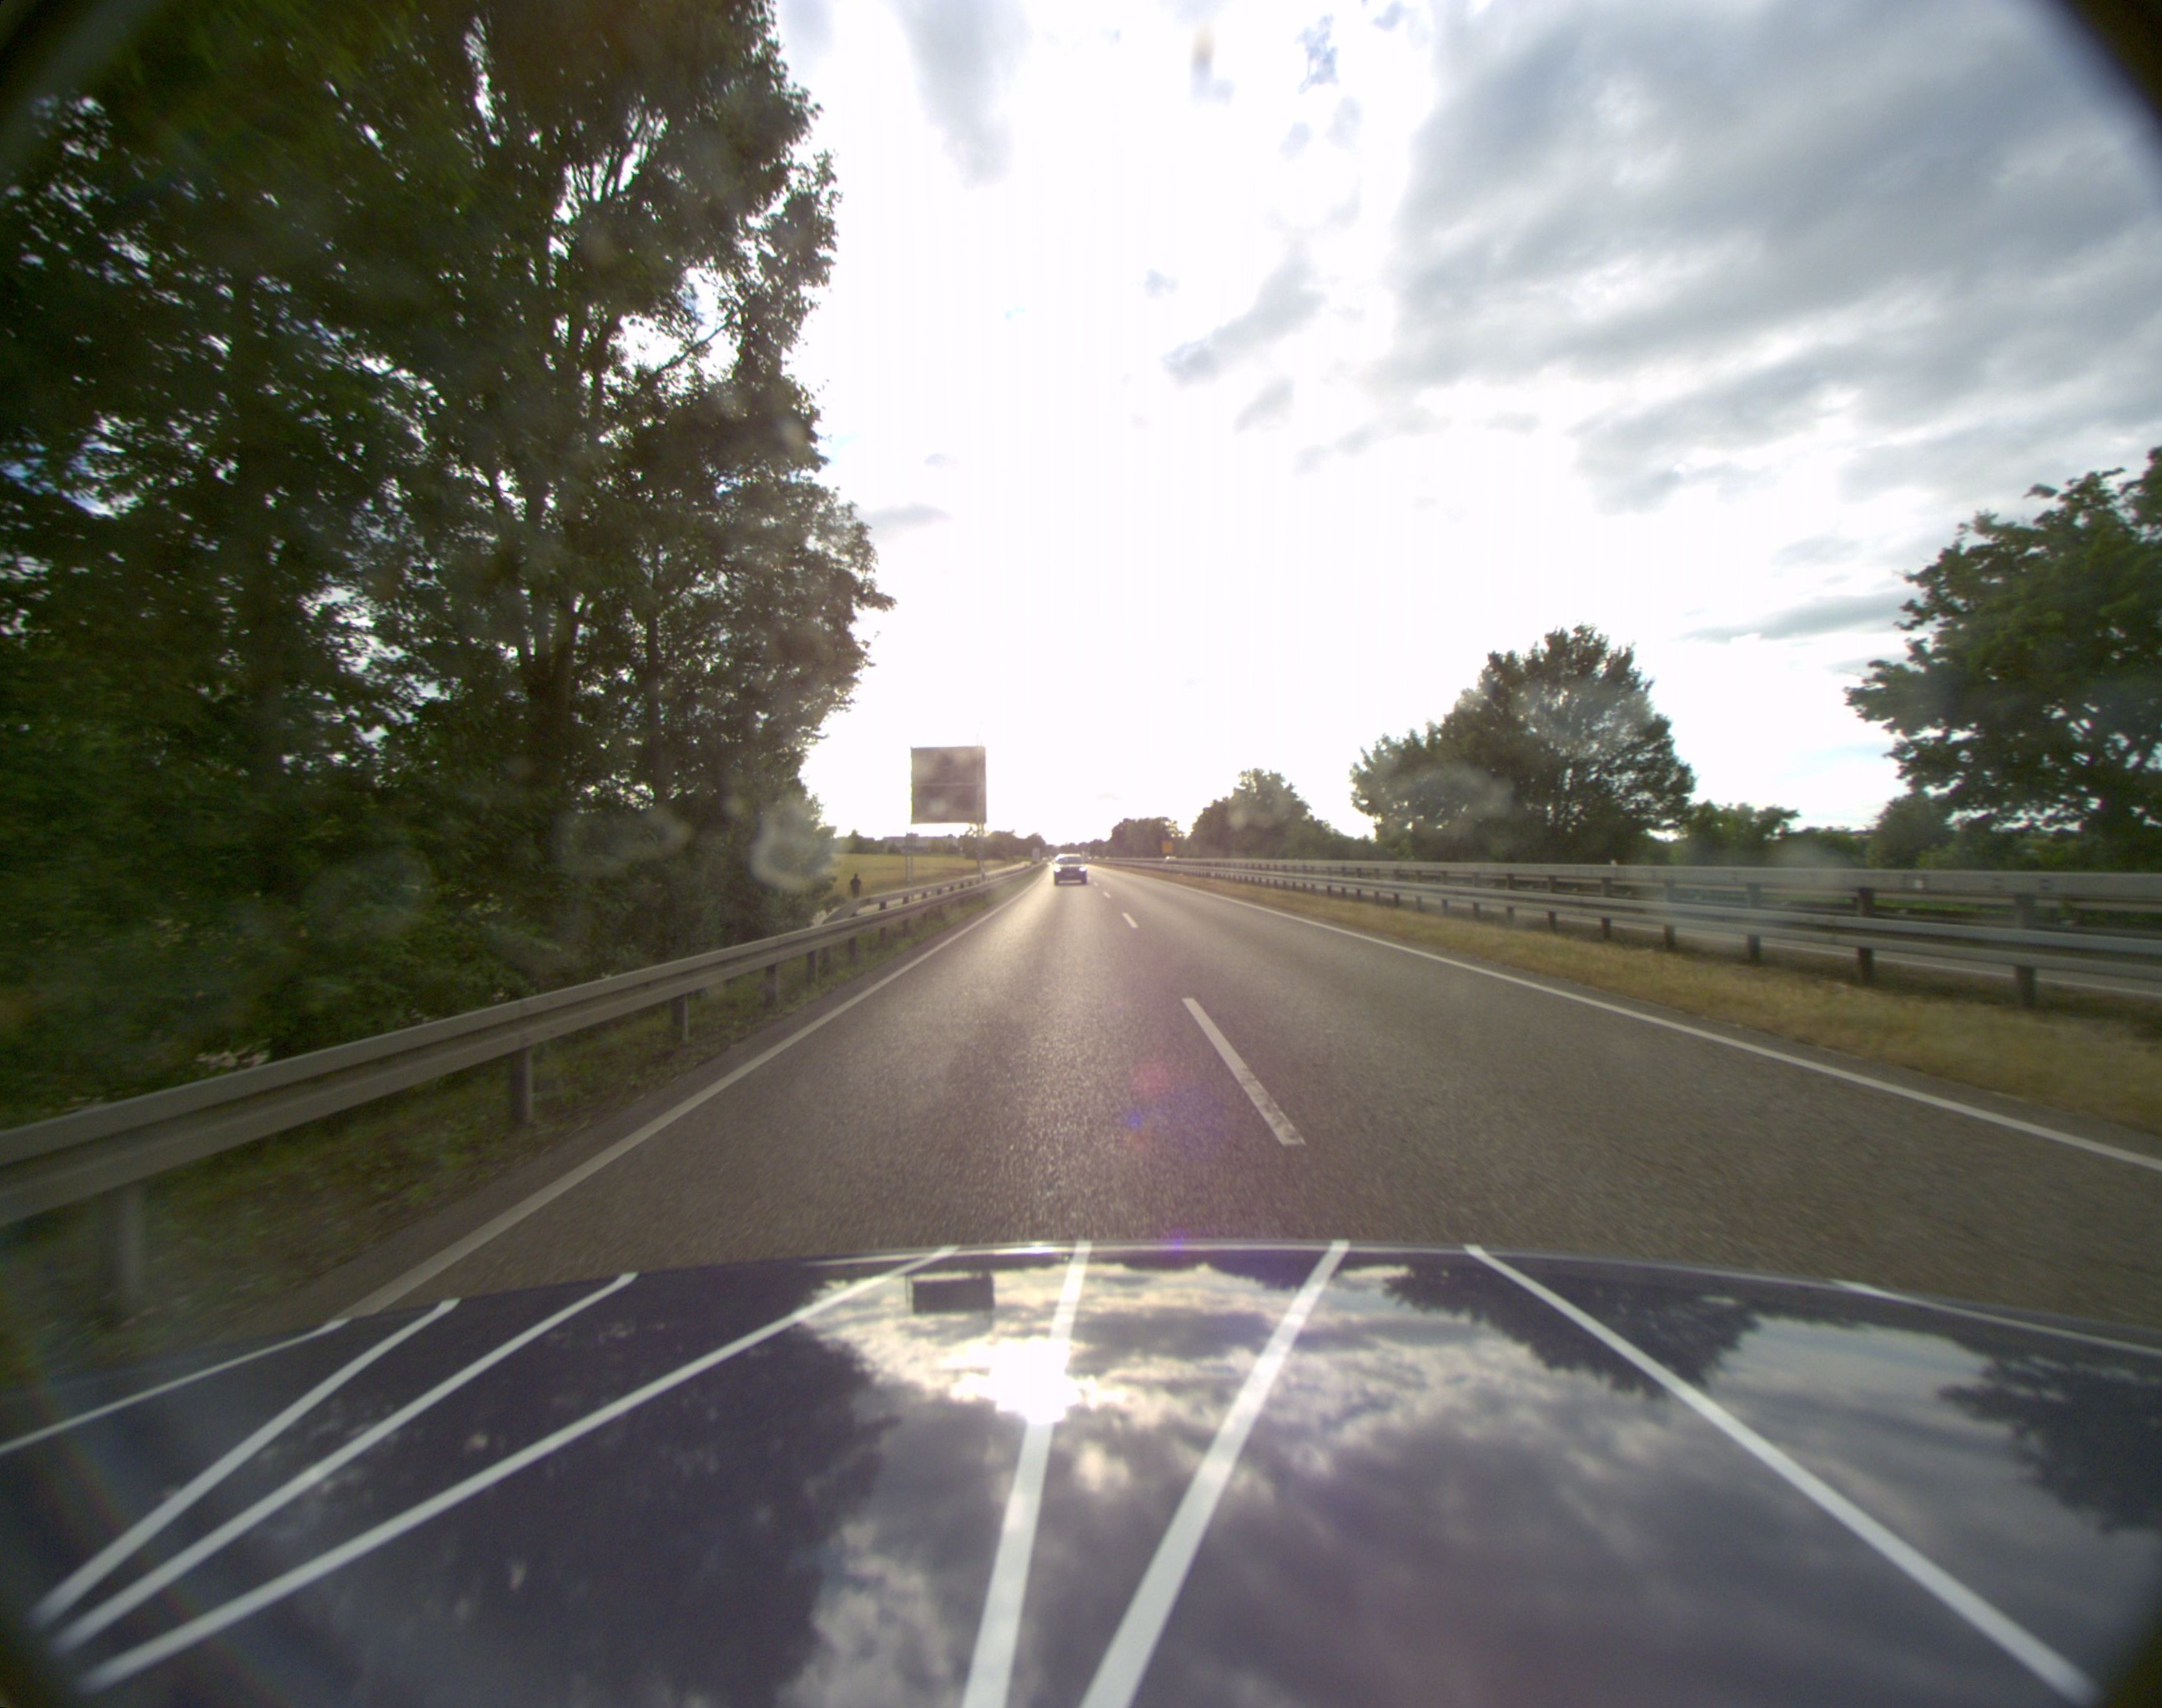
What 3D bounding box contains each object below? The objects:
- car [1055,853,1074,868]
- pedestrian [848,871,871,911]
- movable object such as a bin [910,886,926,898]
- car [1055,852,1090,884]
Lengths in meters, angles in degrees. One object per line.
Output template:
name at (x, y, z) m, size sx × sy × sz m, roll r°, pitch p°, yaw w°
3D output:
car at (-1.718, 0.619, 77.782) m, size 1.776 × 1.389 × 3.999 m, roll -2°, pitch 0°, yaw -2°
pedestrian at (-10.756, 1.777, 36.877) m, size 0.773 × 1.857 × 0.940 m, roll -3°, pitch 1°, yaw -1°
movable object such as a bin at (-10.431, 2.407, 48.666) m, size 0.734 × 0.642 × 1.235 m, roll -3°, pitch 1°, yaw -1°
car at (-0.520, 0.768, 43.348) m, size 1.863 × 1.636 × 3.999 m, roll -2°, pitch 1°, yaw -1°
